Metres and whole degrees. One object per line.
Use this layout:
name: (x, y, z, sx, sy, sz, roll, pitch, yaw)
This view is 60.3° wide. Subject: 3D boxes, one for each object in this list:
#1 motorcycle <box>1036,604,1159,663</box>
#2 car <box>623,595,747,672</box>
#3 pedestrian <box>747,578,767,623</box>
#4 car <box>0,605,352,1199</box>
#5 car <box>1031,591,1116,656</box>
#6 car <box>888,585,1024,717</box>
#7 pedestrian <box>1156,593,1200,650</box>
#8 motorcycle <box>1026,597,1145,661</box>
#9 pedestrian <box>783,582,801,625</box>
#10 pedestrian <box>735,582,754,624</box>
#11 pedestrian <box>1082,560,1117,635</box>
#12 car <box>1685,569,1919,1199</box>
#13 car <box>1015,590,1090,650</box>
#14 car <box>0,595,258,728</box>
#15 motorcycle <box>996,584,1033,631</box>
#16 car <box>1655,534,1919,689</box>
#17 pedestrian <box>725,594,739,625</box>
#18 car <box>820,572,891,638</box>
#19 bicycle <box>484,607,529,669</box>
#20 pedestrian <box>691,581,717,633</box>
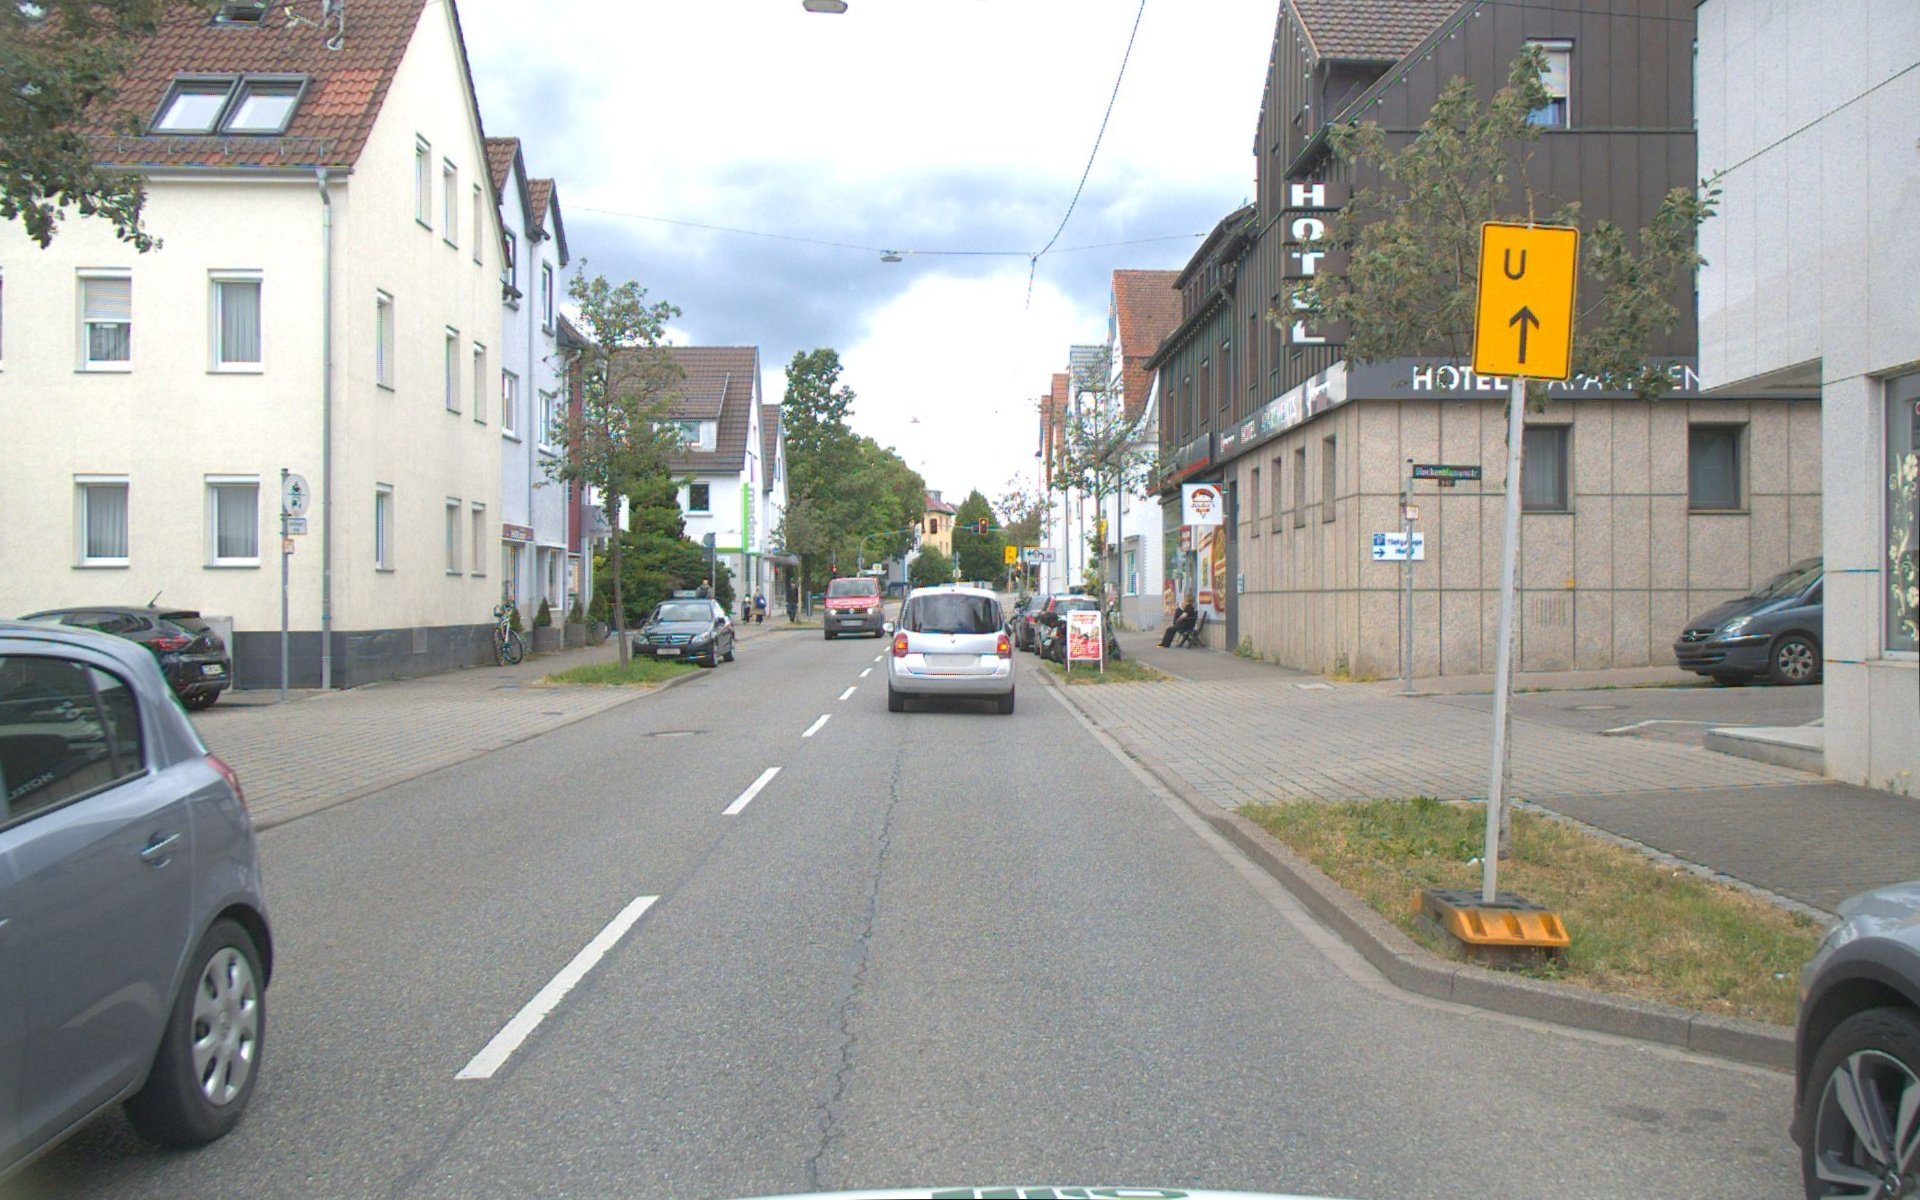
motorcycle: (2.926, 0.708, 34.920, 2.700, 1.204, 0.693, 1, 0, -31)
car: (-5.954, 0.686, 36.315, 1.908, 1.493, 4.515, -2, 0, 0)
pedestrian: (-8.531, 0.022, 69.540, 0.746, 1.909, 0.695, 1, 0, -1)
car: (-2.709, 0.781, 3.297, 1.649, 1.473, 4.018, -2, 0, -3)
car: (2.643, 0.525, 39.110, 1.666, 1.455, 3.889, 1, 0, -1)
car: (-0.046, 0.627, 22.433, 1.648, 1.593, 3.993, 1, 0, 0)
pedestrian: (5.383, 0.519, 40.896, 0.869, 1.322, 0.966, -4, 0, 0)
motorcycle: (2.743, 0.627, 35.963, 2.680, 1.359, 0.693, 1, 0, -31)
pedestrian: (-7.441, 0.162, 73.223, 0.702, 1.909, 0.695, 1, 0, -1)
pedestrian: (-9.159, 0.130, 70.260, 0.702, 1.787, 0.695, 1, 0, -1)
pedestrian: (3.717, -0.067, 44.129, 0.839, 1.961, 0.899, 1, 0, -1)
car: (2.802, 0.737, 1.824, 1.838, 1.566, 4.510, 1, 0, -3)
car: (2.399, 0.509, 43.918, 1.666, 1.492, 4.238, 1, 0, -1)
car: (-11.620, 0.810, 21.811, 3.907, 1.561, 1.734, -3, 0, -2)
motorcycle: (1.943, 0.259, 59.144, 0.686, 1.667, 2.400, 1, 0, -14)
car: (11.977, 0.110, 22.264, 4.391, 1.899, 1.929, -2, 0, -3)
pedestrian: (-9.566, 0.411, 69.457, 0.482, 1.300, 0.588, 1, 0, -1)
car: (-3.368, 0.152, 54.223, 1.908, 1.996, 5.222, -2, 0, 0)
bicycle: (-8.914, 0.728, 32.561, 0.504, 1.174, 1.665, 1, 0, -3)
pedestrian: (-9.109, 0.250, 58.864, 0.747, 1.822, 0.889, 1, 0, -1)
